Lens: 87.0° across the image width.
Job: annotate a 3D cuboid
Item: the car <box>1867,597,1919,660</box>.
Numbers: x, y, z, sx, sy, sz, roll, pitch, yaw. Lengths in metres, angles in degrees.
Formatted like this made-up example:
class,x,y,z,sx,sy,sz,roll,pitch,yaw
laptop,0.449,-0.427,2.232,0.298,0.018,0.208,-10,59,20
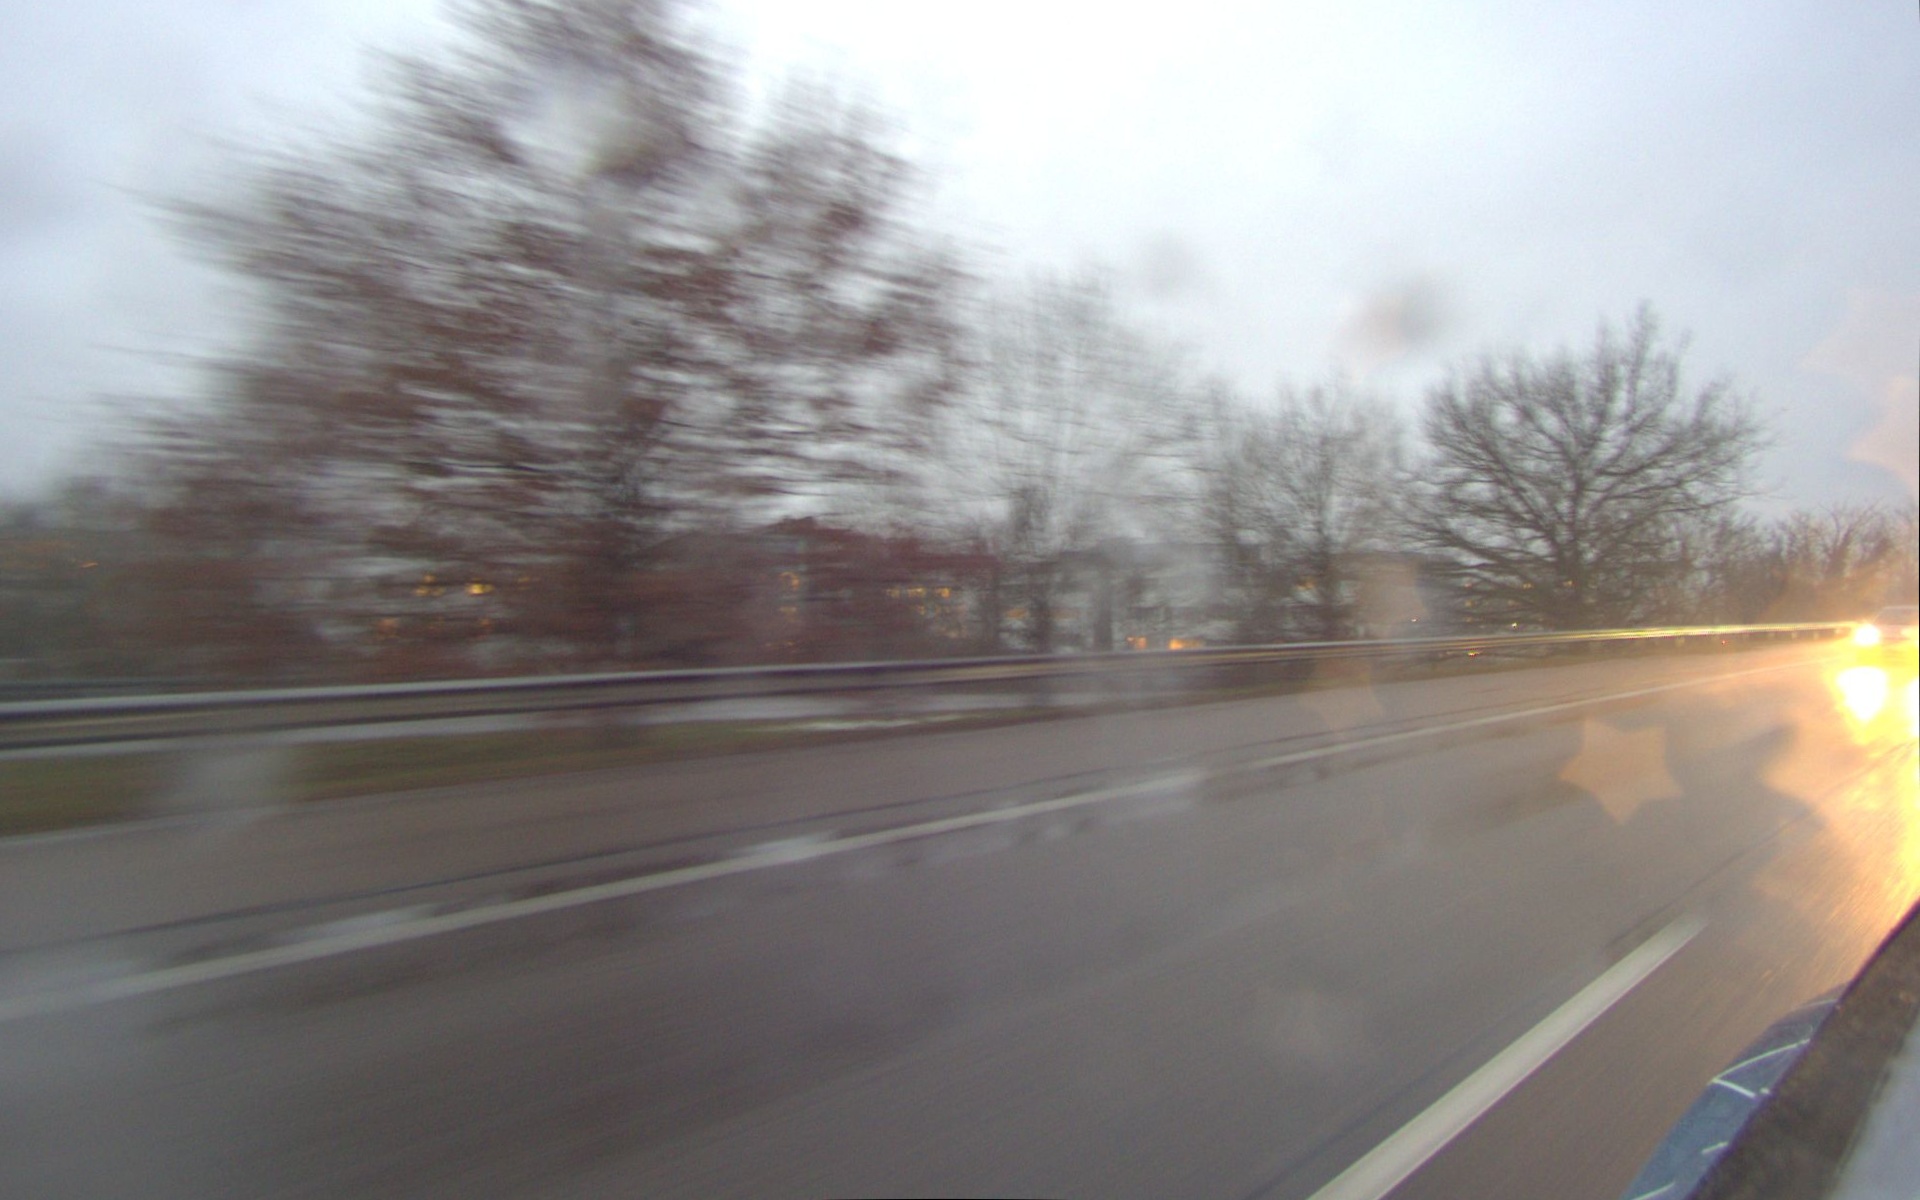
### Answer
class,x,y,z,sx,sy,sz,roll,pitch,yaw
car,25.134,0.703,26.225,4.074,1.549,1.849,0,0,-39
